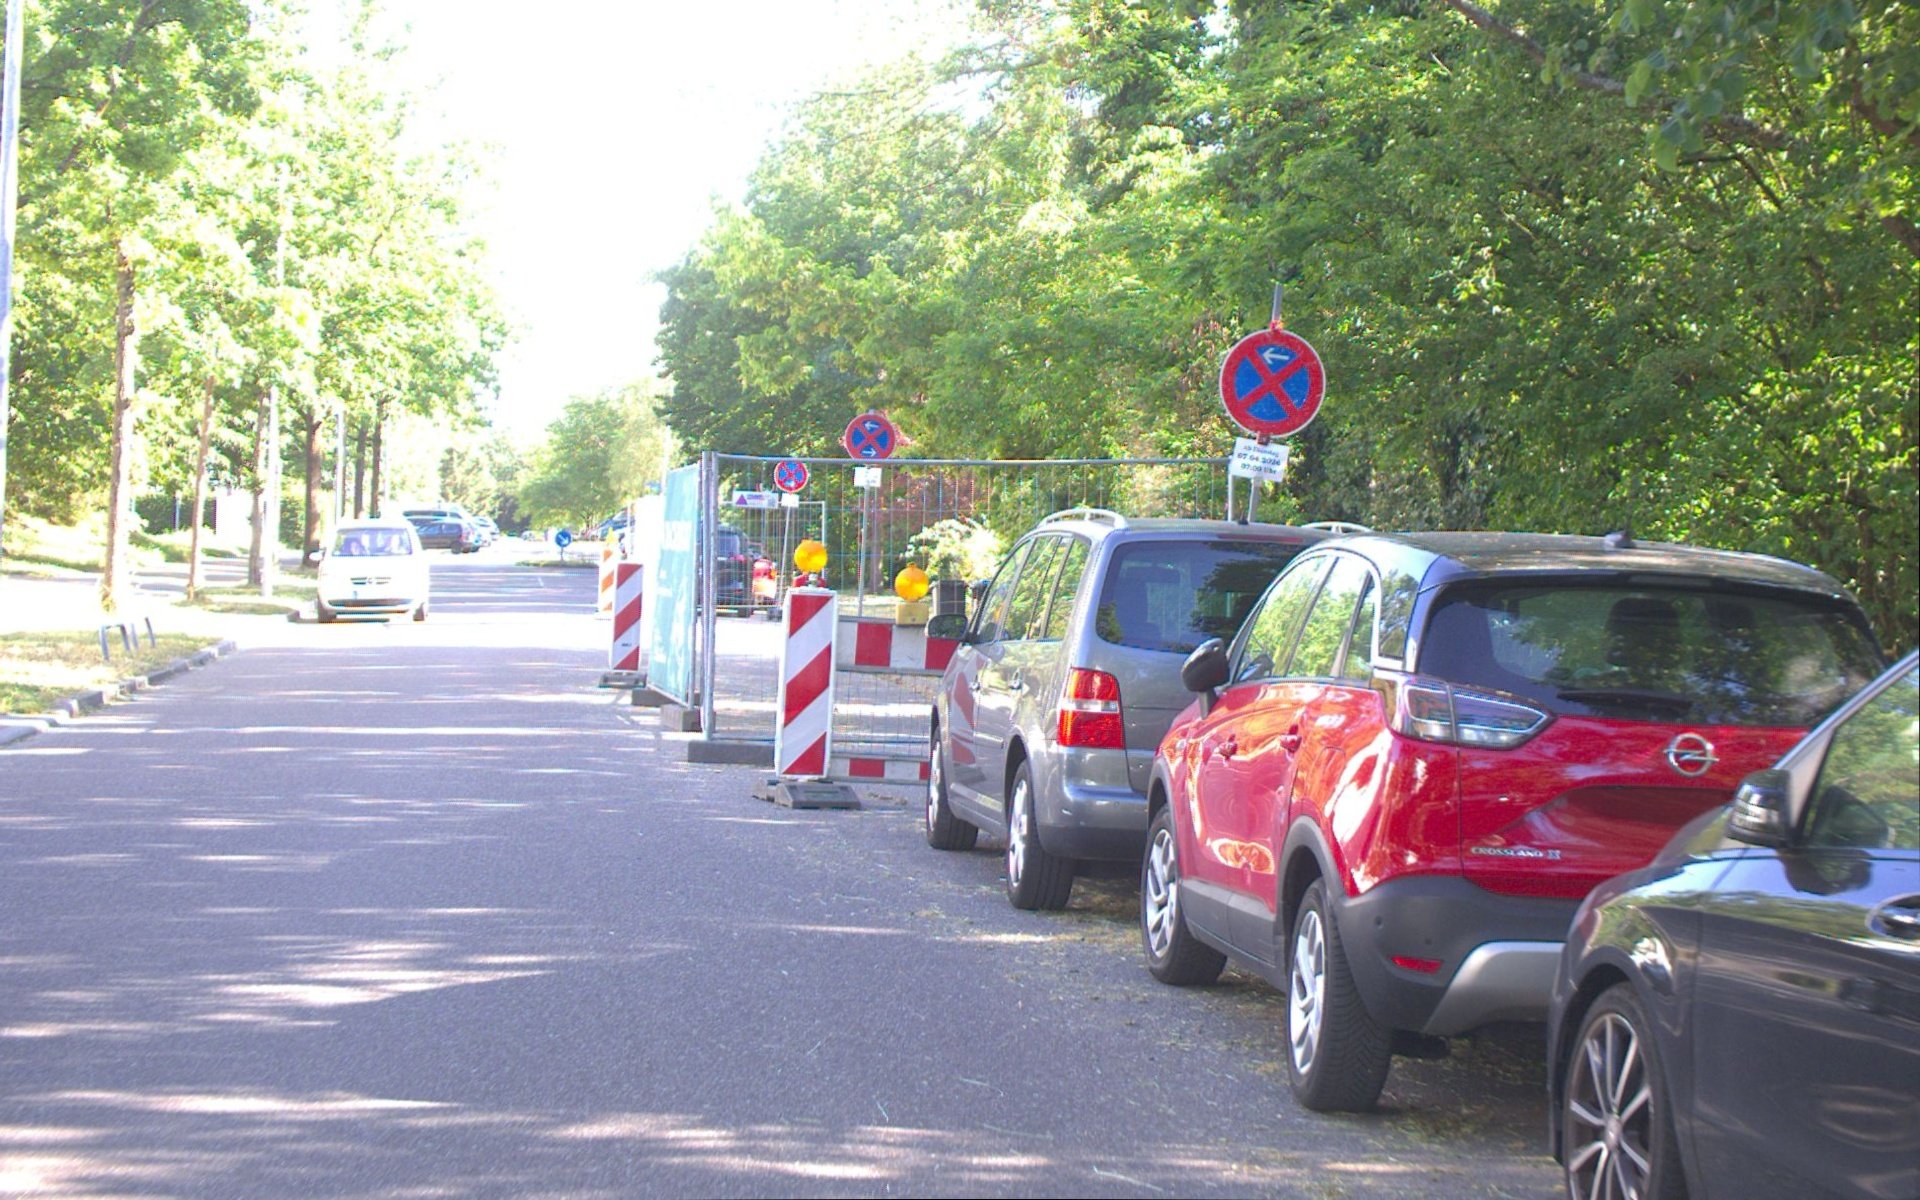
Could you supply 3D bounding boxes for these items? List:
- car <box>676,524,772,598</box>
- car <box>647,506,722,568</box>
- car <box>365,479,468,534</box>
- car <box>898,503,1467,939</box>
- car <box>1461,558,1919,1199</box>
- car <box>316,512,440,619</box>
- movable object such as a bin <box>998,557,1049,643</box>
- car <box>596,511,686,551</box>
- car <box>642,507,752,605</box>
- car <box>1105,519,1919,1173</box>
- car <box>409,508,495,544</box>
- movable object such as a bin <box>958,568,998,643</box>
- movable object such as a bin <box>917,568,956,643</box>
[{"bbox_3d":[-4.845,-0.822,70.222,1.661,1.371,4.156,3,1,-7],"label":"car"},{"bbox_3d":[-8.491,-1.960,105.775,1.790,1.779,4.558,3,1,-10],"label":"car"},{"bbox_3d":[-28.967,-4.974,183.158,5.198,2.612,2.294,3,1,-11],"label":"car"},{"bbox_3d":[0.829,0.420,15.304,1.678,1.616,4.138,3,1,-8],"label":"car"},{"bbox_3d":[2.359,0.751,5.904,1.711,1.504,4.151,3,1,-10],"label":"car"},{"bbox_3d":[-9.258,-0.582,54.942,1.659,1.590,4.009,2,1,-6],"label":"car"},{"bbox_3d":[0.738,-0.005,39.987,0.518,0.996,0.608,0,1,-6],"label":"movable object such as a bin"},{"bbox_3d":[-14.359,-3.102,154.829,3.838,1.571,1.688,3,1,0],"label":"car"},{"bbox_3d":[-4.818,-0.825,63.452,1.810,1.645,4.421,3,1,-3],"label":"car"},{"bbox_3d":[1.602,0.579,10.606,1.678,1.568,4.067,3,1,-6],"label":"car"},{"bbox_3d":[-25.771,-3.739,174.523,4.106,1.571,1.959,3,1,-5],"label":"car"},{"bbox_3d":[0.207,0.059,40.066,0.413,0.867,0.484,0,1,-6],"label":"movable object such as a bin"},{"bbox_3d":[-0.273,0.062,39.945,0.413,0.867,0.484,0,1,-6],"label":"movable object such as a bin"}]
